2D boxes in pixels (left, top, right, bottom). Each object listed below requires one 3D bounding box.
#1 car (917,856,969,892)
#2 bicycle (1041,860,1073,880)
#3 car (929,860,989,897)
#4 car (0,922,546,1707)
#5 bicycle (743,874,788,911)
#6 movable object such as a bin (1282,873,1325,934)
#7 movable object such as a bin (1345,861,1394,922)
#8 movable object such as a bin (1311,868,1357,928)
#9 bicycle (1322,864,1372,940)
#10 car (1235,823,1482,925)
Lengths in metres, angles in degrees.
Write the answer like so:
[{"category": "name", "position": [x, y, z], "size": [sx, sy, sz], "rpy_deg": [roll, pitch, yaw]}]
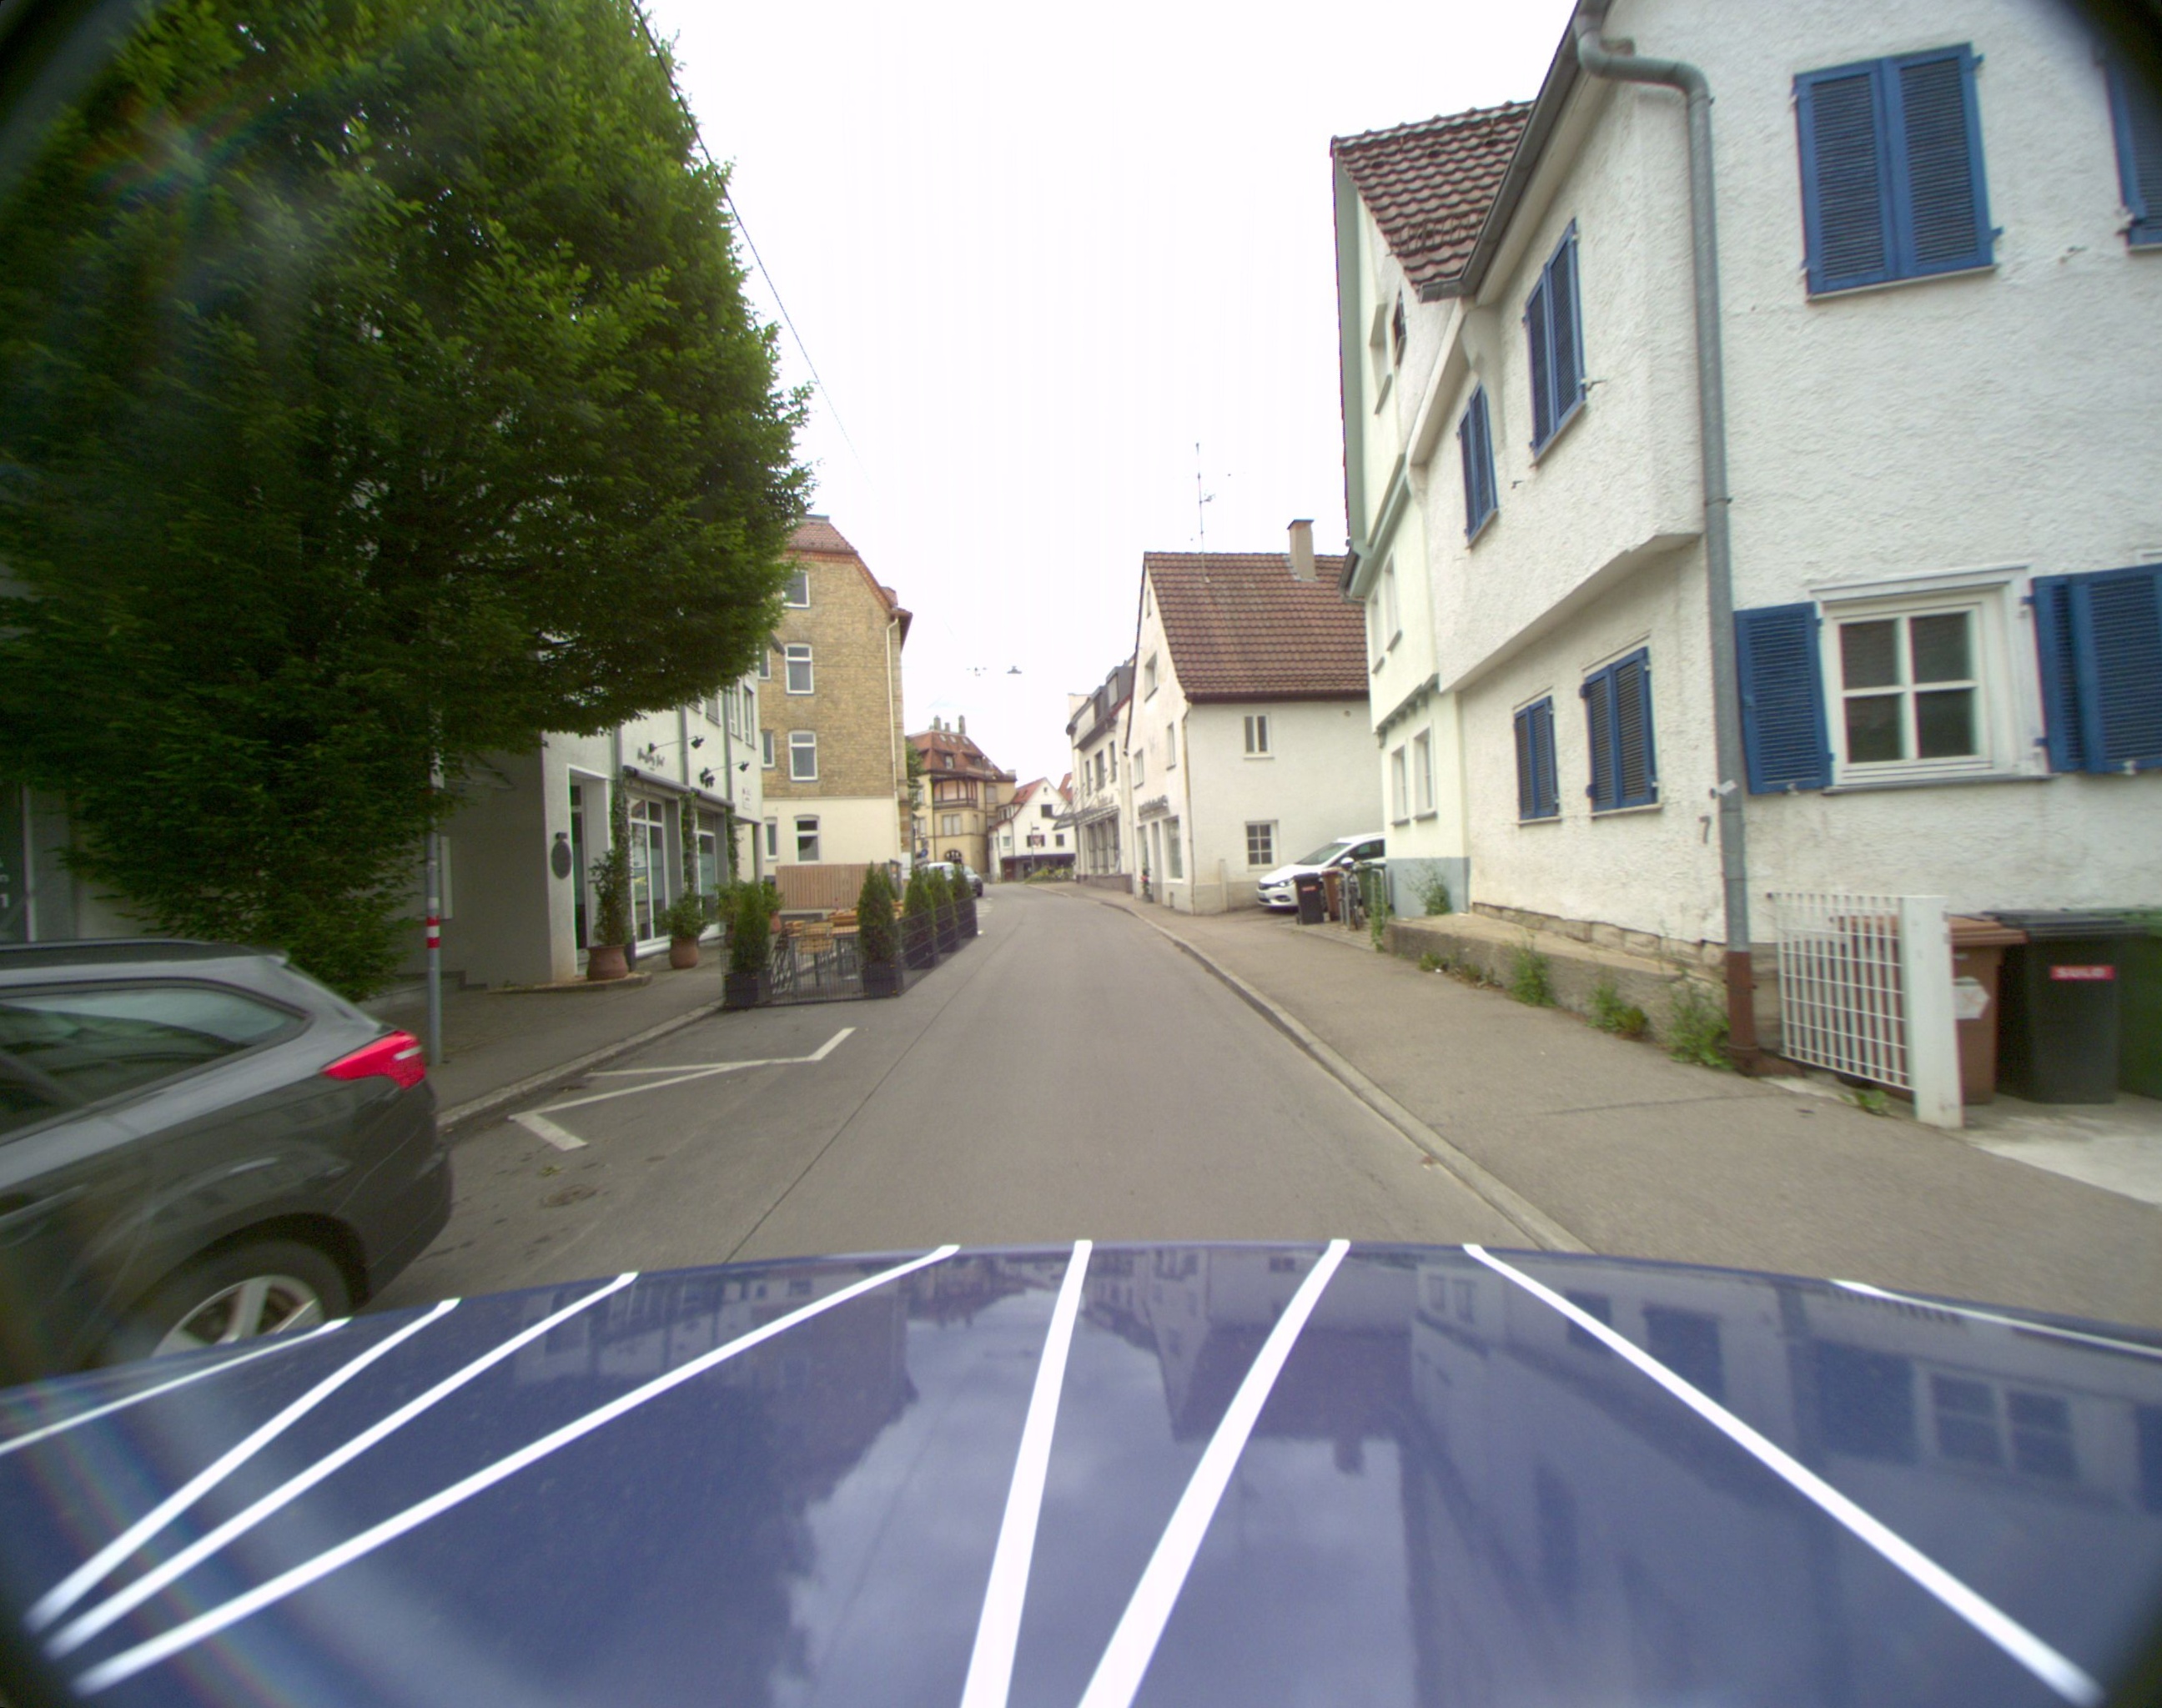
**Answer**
[{"category": "car", "position": [-7.524, 1.079, 41.093], "size": [1.833, 1.781, 4.211], "rpy_deg": [-3, 0, -23]}, {"category": "bicycle", "position": [-1.633, 1.068, 51.626], "size": [1.983, 1.232, 0.743], "rpy_deg": [-3, -1, -27]}, {"category": "car", "position": [-5.921, 1.139, 36.446], "size": [1.795, 1.591, 4.534], "rpy_deg": [-4, 0, -22]}, {"category": "car", "position": [-3.164, 1.083, 0.594], "size": [1.953, 1.499, 4.820], "rpy_deg": [-3, 0, 1]}, {"category": "bicycle", "position": [-10.984, 1.333, 26.552], "size": [0.962, 1.211, 2.099], "rpy_deg": [0, -2, -8]}, {"category": "movable object such as a bin", "position": [3.934, 0.873, 13.462], "size": [0.554, 0.994, 0.587], "rpy_deg": [-8, -2, 10]}, {"category": "movable object such as a bin", "position": [5.101, 0.657, 13.469], "size": [0.556, 0.994, 0.623], "rpy_deg": [-9, -1, 9]}, {"category": "movable object such as a bin", "position": [4.532, 0.789, 13.661], "size": [0.570, 0.994, 0.600], "rpy_deg": [-8, -2, 9]}, {"category": "bicycle", "position": [4.239, 0.722, 12.223], "size": [0.443, 1.033, 2.094], "rpy_deg": [-7, -1, 14]}, {"category": "car", "position": [5.963, 0.364, 16.639], "size": [4.550, 1.492, 1.976], "rpy_deg": [-8, 3, -6]}]
